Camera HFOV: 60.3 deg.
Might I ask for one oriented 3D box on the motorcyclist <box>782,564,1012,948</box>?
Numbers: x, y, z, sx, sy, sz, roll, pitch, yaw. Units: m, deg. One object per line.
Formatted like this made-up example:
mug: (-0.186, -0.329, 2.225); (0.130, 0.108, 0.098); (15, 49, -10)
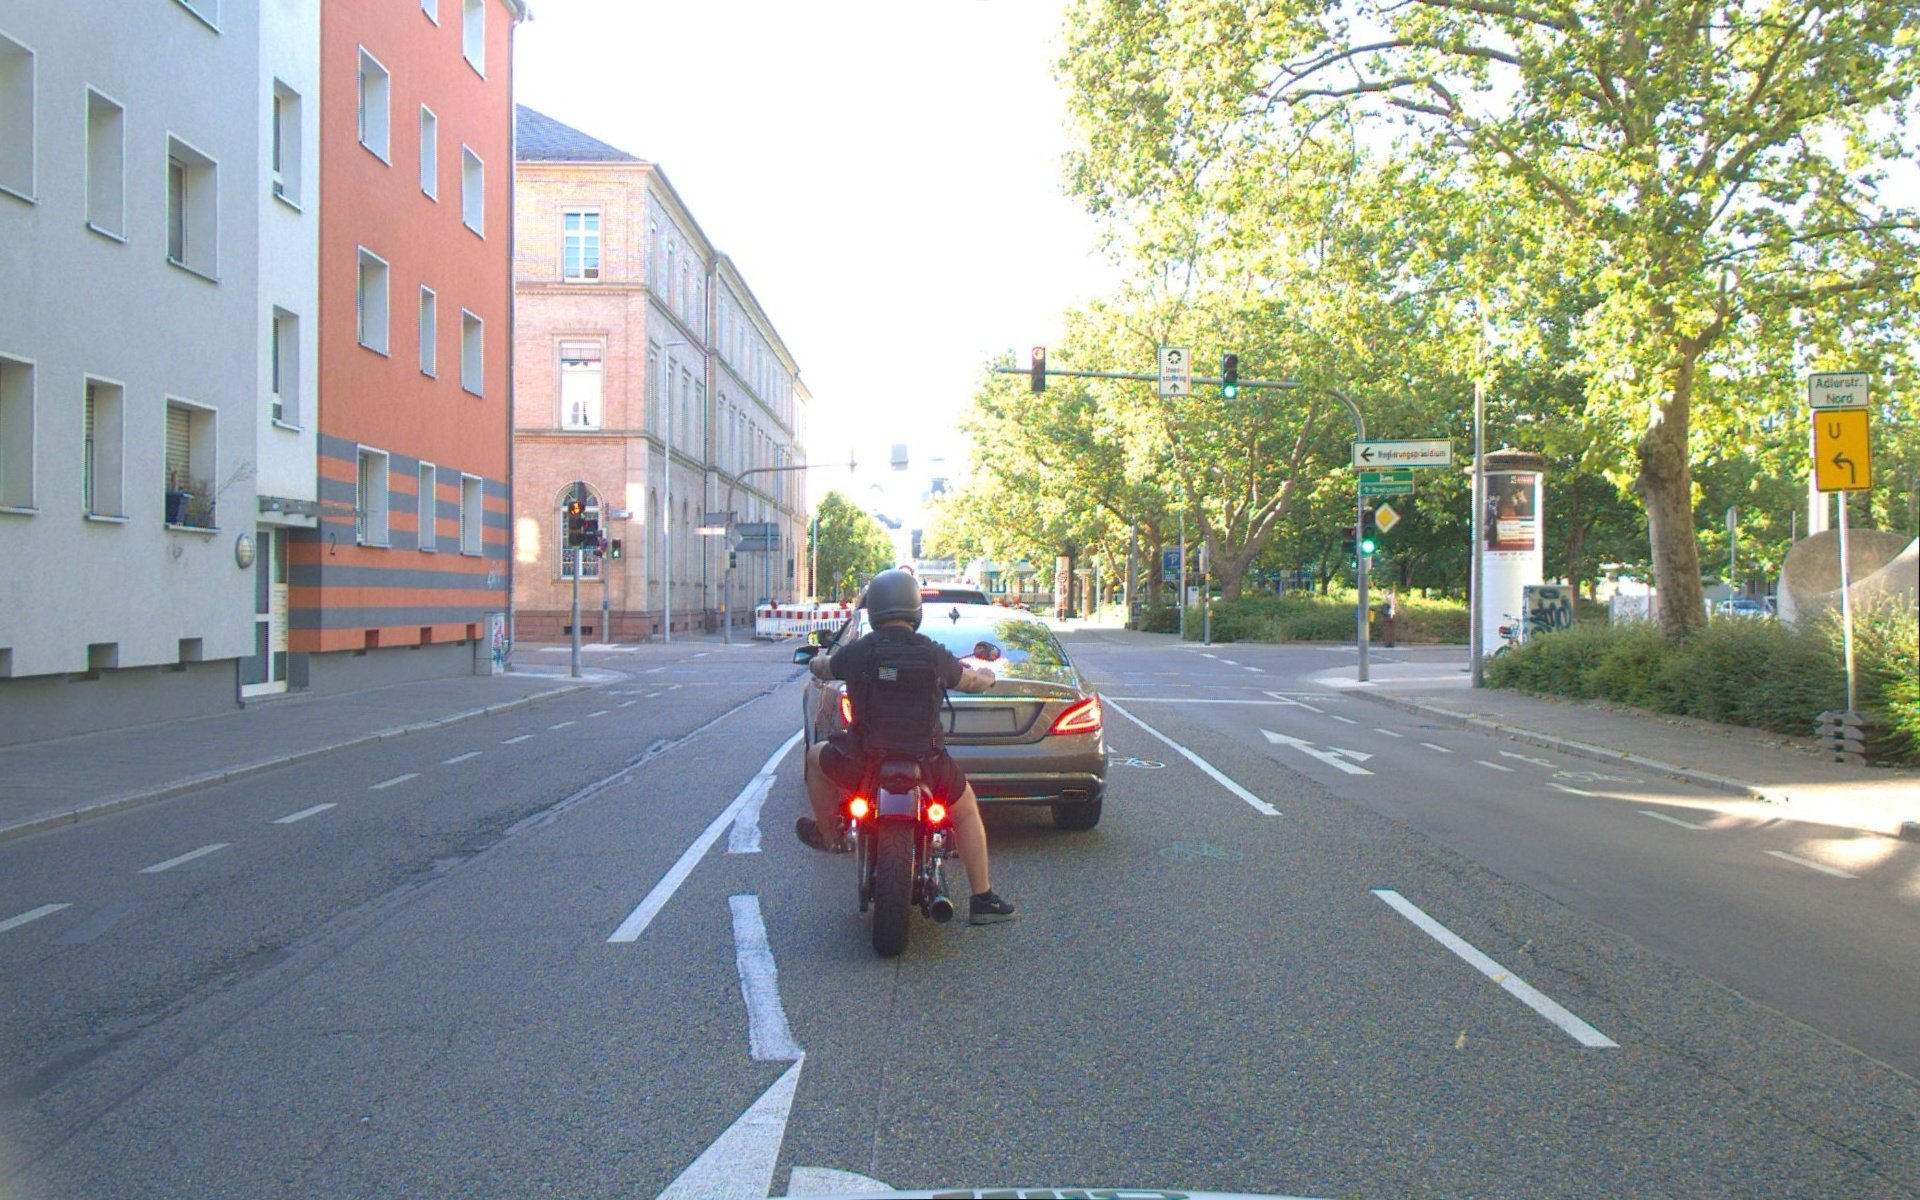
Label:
motorcyclist: (-0.272, 0.650, 7.554); (0.961, 1.606, 1.248); (0, 0, -1)

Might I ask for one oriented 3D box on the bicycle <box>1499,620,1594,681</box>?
bicycle: (9.788, 0.839, 27.603); (1.452, 0.997, 0.299); (1, -1, 5)

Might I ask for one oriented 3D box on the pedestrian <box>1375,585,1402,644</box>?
pedestrian: (13.150, 0.442, 50.783); (0.664, 1.803, 0.616); (1, -1, 29)

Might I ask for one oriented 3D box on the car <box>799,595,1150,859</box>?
car: (-0.112, 0.710, 11.626); (1.834, 1.469, 4.422); (0, 0, -8)

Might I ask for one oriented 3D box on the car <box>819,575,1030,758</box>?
car: (-0.361, 0.633, 17.545); (1.953, 1.695, 3.999); (1, 0, -1)

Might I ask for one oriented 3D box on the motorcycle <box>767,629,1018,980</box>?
motorcycle: (-0.275, 0.807, 7.563); (0.961, 1.297, 2.407); (0, 0, -1)
